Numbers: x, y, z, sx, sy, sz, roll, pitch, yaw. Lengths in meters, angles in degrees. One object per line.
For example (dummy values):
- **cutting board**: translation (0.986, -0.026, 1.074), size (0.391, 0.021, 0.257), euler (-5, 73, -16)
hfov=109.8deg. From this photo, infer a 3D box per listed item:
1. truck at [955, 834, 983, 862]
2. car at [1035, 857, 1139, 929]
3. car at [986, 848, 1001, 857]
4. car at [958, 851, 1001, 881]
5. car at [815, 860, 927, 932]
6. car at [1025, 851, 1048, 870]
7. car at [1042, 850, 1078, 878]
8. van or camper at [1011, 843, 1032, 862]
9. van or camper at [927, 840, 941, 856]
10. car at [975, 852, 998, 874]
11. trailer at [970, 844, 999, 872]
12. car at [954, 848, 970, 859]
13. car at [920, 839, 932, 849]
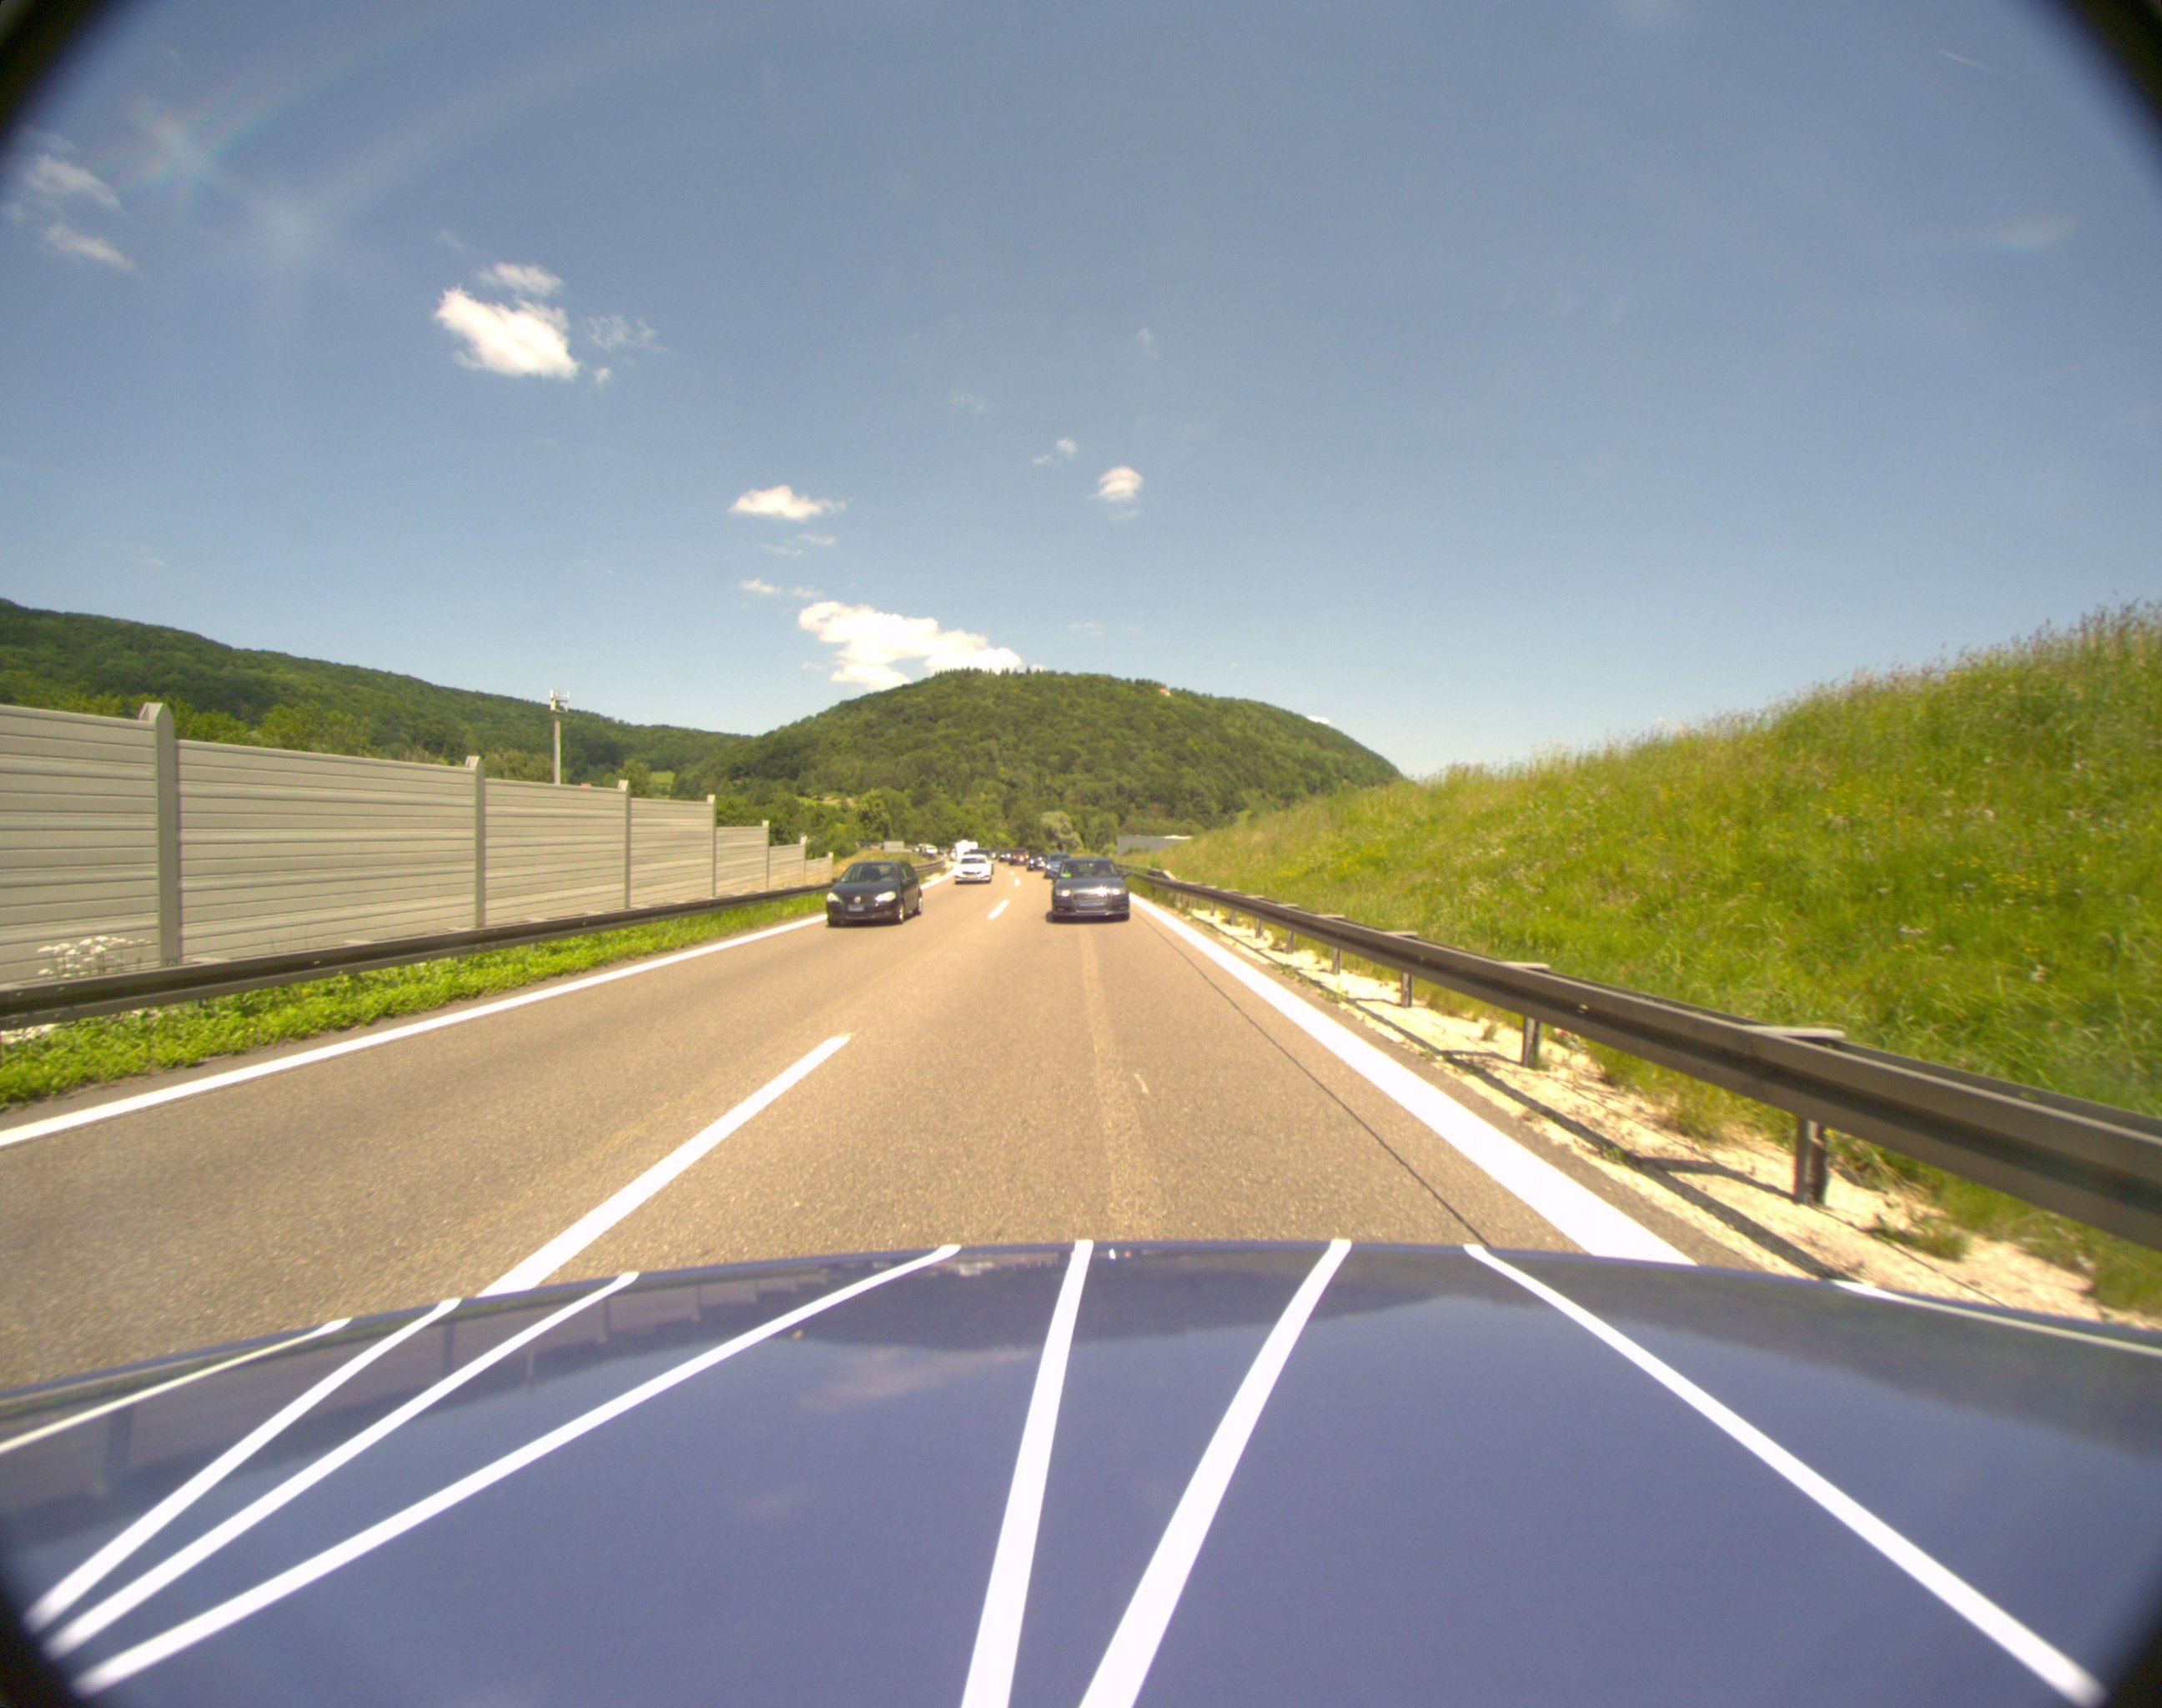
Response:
- **truck**: translation (-13.282, -0.724, 89.969), size (2.605, 3.089, 6.850), euler (-4, 1, -13)
- **car**: translation (0.017, 0.809, 17.720), size (1.756, 1.382, 4.051), euler (-2, 0, -9)
- **car**: translation (-12.289, -0.190, 106.687), size (1.493, 1.102, 3.209), euler (-3, 1, -15)
- **car**: translation (-5.230, 0.612, 39.559), size (1.908, 1.422, 3.721), euler (-2, -1, -3)
- **car**: translation (-4.858, 0.913, 18.091), size (1.696, 1.414, 3.837), euler (-2, 1, -3)
- **car**: translation (-3.500, 0.499, 59.985), size (1.287, 1.306, 3.449), euler (-4, 2, -11)
- **car**: translation (-1.243, 0.509, 43.238), size (1.696, 1.422, 3.460), euler (-3, 1, -6)
- **van or camper**: translation (-6.196, -0.134, 78.821), size (1.819, 1.856, 3.609), euler (-2, 1, -11)
- **van or camper**: translation (-27.945, -1.080, 144.140), size (1.912, 3.010, 4.866), euler (-1, 1, -18)
- **car**: translation (-6.519, 0.590, 52.142), size (1.490, 1.375, 3.735), euler (0, 1, -7)
- **trailer**: translation (-7.129, 0.287, 55.957), size (2.000, 1.958, 3.997), euler (-1, 0, -8)
- **car**: translation (-17.024, -0.086, 108.617), size (1.700, 1.523, 3.675), euler (-4, 1, -16)
- **car**: translation (-31.368, -1.992, 153.647), size (2.001, 2.002, 3.993), euler (-3, 1, -17)
